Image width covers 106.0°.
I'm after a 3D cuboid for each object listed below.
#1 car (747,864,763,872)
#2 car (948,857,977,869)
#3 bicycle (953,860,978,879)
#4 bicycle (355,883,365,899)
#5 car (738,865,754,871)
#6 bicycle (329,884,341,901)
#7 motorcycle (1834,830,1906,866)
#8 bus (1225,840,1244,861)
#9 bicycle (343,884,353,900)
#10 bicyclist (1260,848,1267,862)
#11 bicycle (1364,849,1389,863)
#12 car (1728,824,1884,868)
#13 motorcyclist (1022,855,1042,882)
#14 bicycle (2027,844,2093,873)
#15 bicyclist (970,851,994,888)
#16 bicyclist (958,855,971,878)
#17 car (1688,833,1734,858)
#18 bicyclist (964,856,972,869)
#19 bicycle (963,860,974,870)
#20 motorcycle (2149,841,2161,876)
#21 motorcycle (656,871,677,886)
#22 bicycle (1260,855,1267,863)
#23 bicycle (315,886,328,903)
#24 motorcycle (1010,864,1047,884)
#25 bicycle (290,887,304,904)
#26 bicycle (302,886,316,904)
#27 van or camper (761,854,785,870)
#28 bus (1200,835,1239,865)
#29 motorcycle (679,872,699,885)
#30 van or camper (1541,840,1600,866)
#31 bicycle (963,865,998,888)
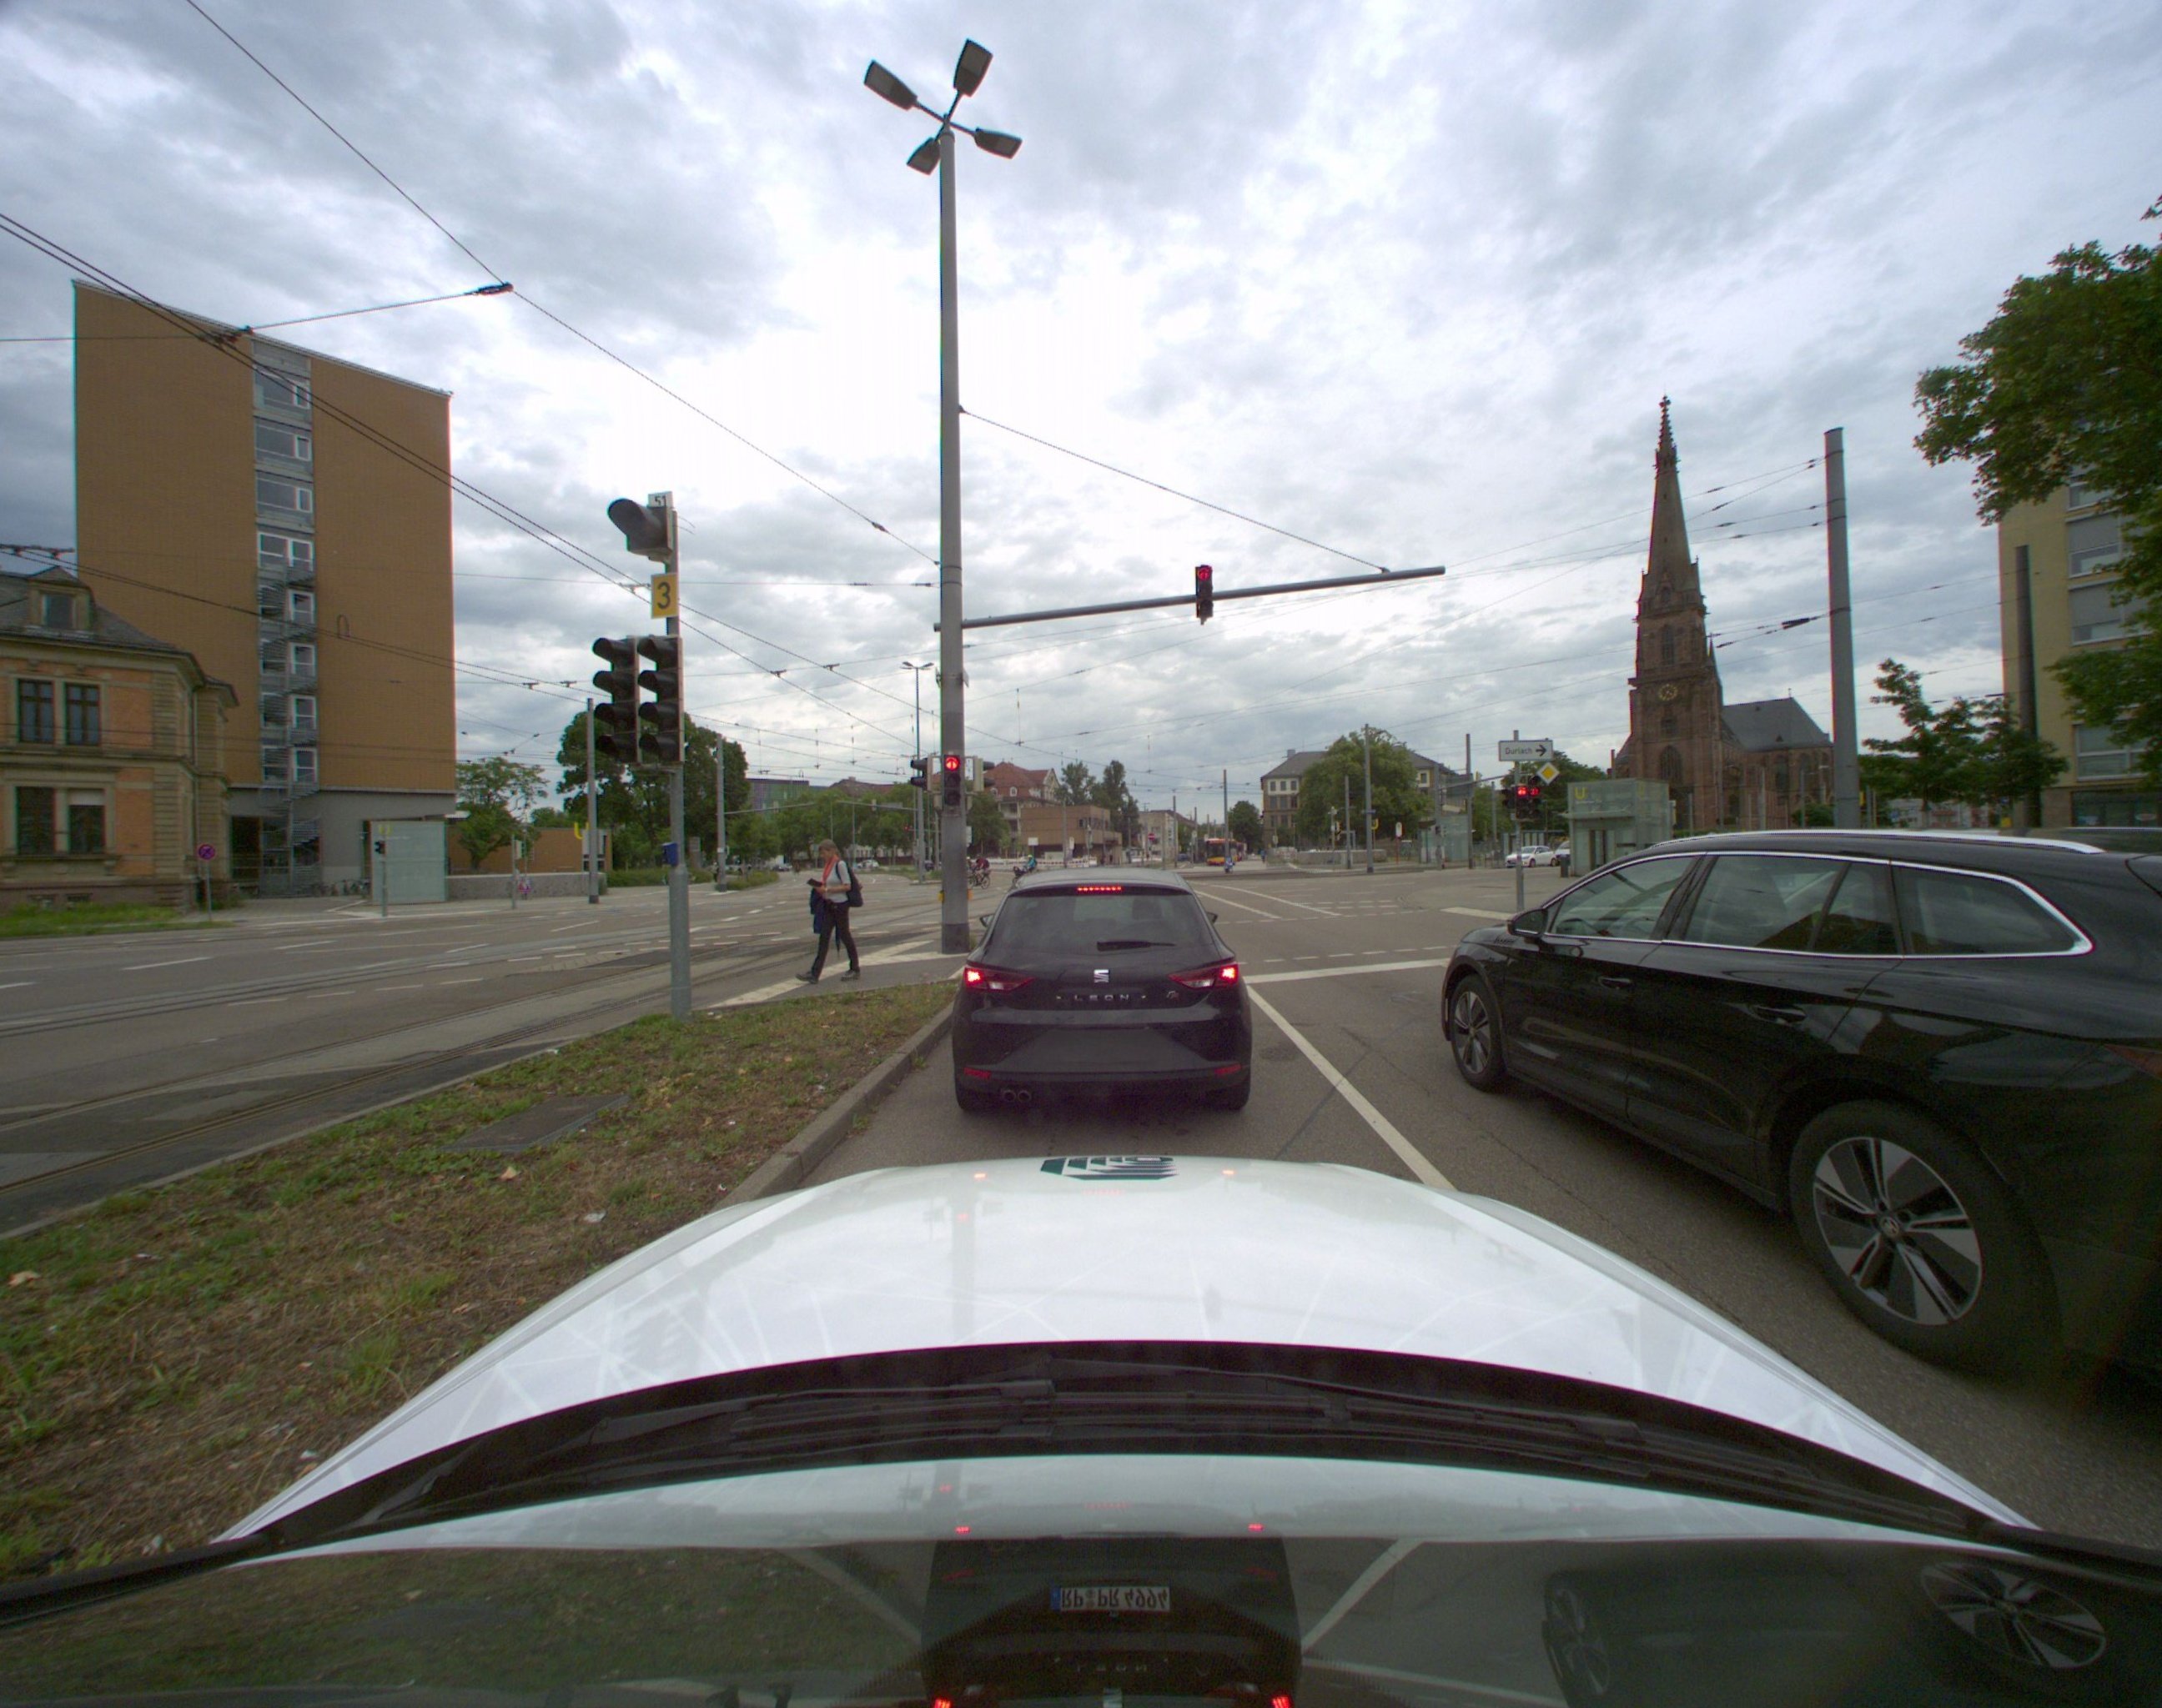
[{"bbox_3d":[-68.753,2.930,171.592,1.792,1.464,3.951,-1,0,-44],"label":"car"},{"bbox_3d":[-17.919,1.368,123.672,3.970,1.684,2.001,-2,-1,3],"label":"car"},{"bbox_3d":[-8.384,1.102,59.165,1.731,1.321,0.643,-1,0,-12],"label":"bicycle"},{"bbox_3d":[-50.239,2.588,56.721,0.484,1.049,1.411,-1,0,-41],"label":"bicycle"},{"bbox_3d":[-73.819,3.081,179.400,3.949,1.464,1.792,-1,0,43],"label":"car"},{"bbox_3d":[-51.156,2.627,55.838,0.575,1.106,1.411,-1,0,-41],"label":"bicycle"},{"bbox_3d":[26.952,-0.206,27.810,2.386,1.168,0.762,-1,0,-19],"label":"motorcycle"},{"bbox_3d":[25.733,-0.589,136.283,2.635,3.283,11.034,-2,0,13],"label":"bus"},{"bbox_3d":[-50.652,2.618,56.282,0.512,1.049,1.411,-1,0,-41],"label":"bicycle"},{"bbox_3d":[24.424,0.097,109.153,0.865,1.851,1.052,-2,0,14],"label":"bicyclist"},{"bbox_3d":[29.658,0.187,81.725,2.248,1.331,0.709,-2,-2,9],"label":"bicycle"},{"bbox_3d":[37.659,-0.387,42.516,5.672,2.014,2.038,-2,-2,19],"label":"car"},{"bbox_3d":[-3.001,0.896,50.130,0.984,1.649,0.742,-1,-1,-31],"label":"motorcyclist"},{"bbox_3d":[31.508,0.146,26.230,0.596,0.917,1.253,-1,0,-28],"label":"bicycle"},{"bbox_3d":[-5.263,0.821,43.118,0.768,1.898,1.003,-2,0,30],"label":"bicyclist"},{"bbox_3d":[-8.454,0.916,59.152,0.854,1.673,0.652,-1,0,-11],"label":"bicyclist"},{"bbox_3d":[53.571,-0.719,69.190,4.017,2.013,1.978,-1,0,-36],"label":"car"},{"bbox_3d":[-14.512,1.077,104.633,0.886,1.732,0.888,-1,0,-20],"label":"bicyclist"},{"bbox_3d":[-14.434,1.433,104.469,0.895,1.178,2.287,-1,0,-20],"label":"bicycle"},{"bbox_3d":[31.738,0.113,23.591,1.020,0.997,0.863,-1,0,-43],"label":"motorcycle"},{"bbox_3d":[-35.445,2.077,69.599,1.481,1.268,0.505,-1,0,-44],"label":"motorcycle"},{"bbox_3d":[24.387,0.655,108.917,0.859,1.104,2.310,-1,0,14],"label":"bicycle"},{"bbox_3d":[-51.640,2.767,55.361,0.575,1.106,1.411,-1,0,-41],"label":"bicycle"},{"bbox_3d":[-3.238,1.194,49.970,2.149,1.139,0.737,-1,0,-31],"label":"motorcycle"},{"bbox_3d":[-52.537,2.779,54.551,0.575,1.106,1.411,-1,0,-41],"label":"bicycle"},{"bbox_3d":[-52.087,2.766,54.956,0.575,1.106,1.411,-1,0,-41],"label":"bicycle"},{"bbox_3d":[-62.825,1.721,165.992,5.434,3.124,2.410,-2,0,43],"label":"van or camper"},{"bbox_3d":[15.966,-0.428,93.272,2.938,3.123,11.589,-2,0,16],"label":"bus"},{"bbox_3d":[-34.418,2.162,71.504,0.506,1.111,1.751,-2,0,15],"label":"motorcycle"},{"bbox_3d":[35.274,-0.083,58.678,4.321,1.742,1.979,-1,-2,-34],"label":"van or camper"},{"bbox_3d":[-5.292,1.177,43.060,0.767,1.184,2.045,-2,0,30],"label":"bicycle"}]
